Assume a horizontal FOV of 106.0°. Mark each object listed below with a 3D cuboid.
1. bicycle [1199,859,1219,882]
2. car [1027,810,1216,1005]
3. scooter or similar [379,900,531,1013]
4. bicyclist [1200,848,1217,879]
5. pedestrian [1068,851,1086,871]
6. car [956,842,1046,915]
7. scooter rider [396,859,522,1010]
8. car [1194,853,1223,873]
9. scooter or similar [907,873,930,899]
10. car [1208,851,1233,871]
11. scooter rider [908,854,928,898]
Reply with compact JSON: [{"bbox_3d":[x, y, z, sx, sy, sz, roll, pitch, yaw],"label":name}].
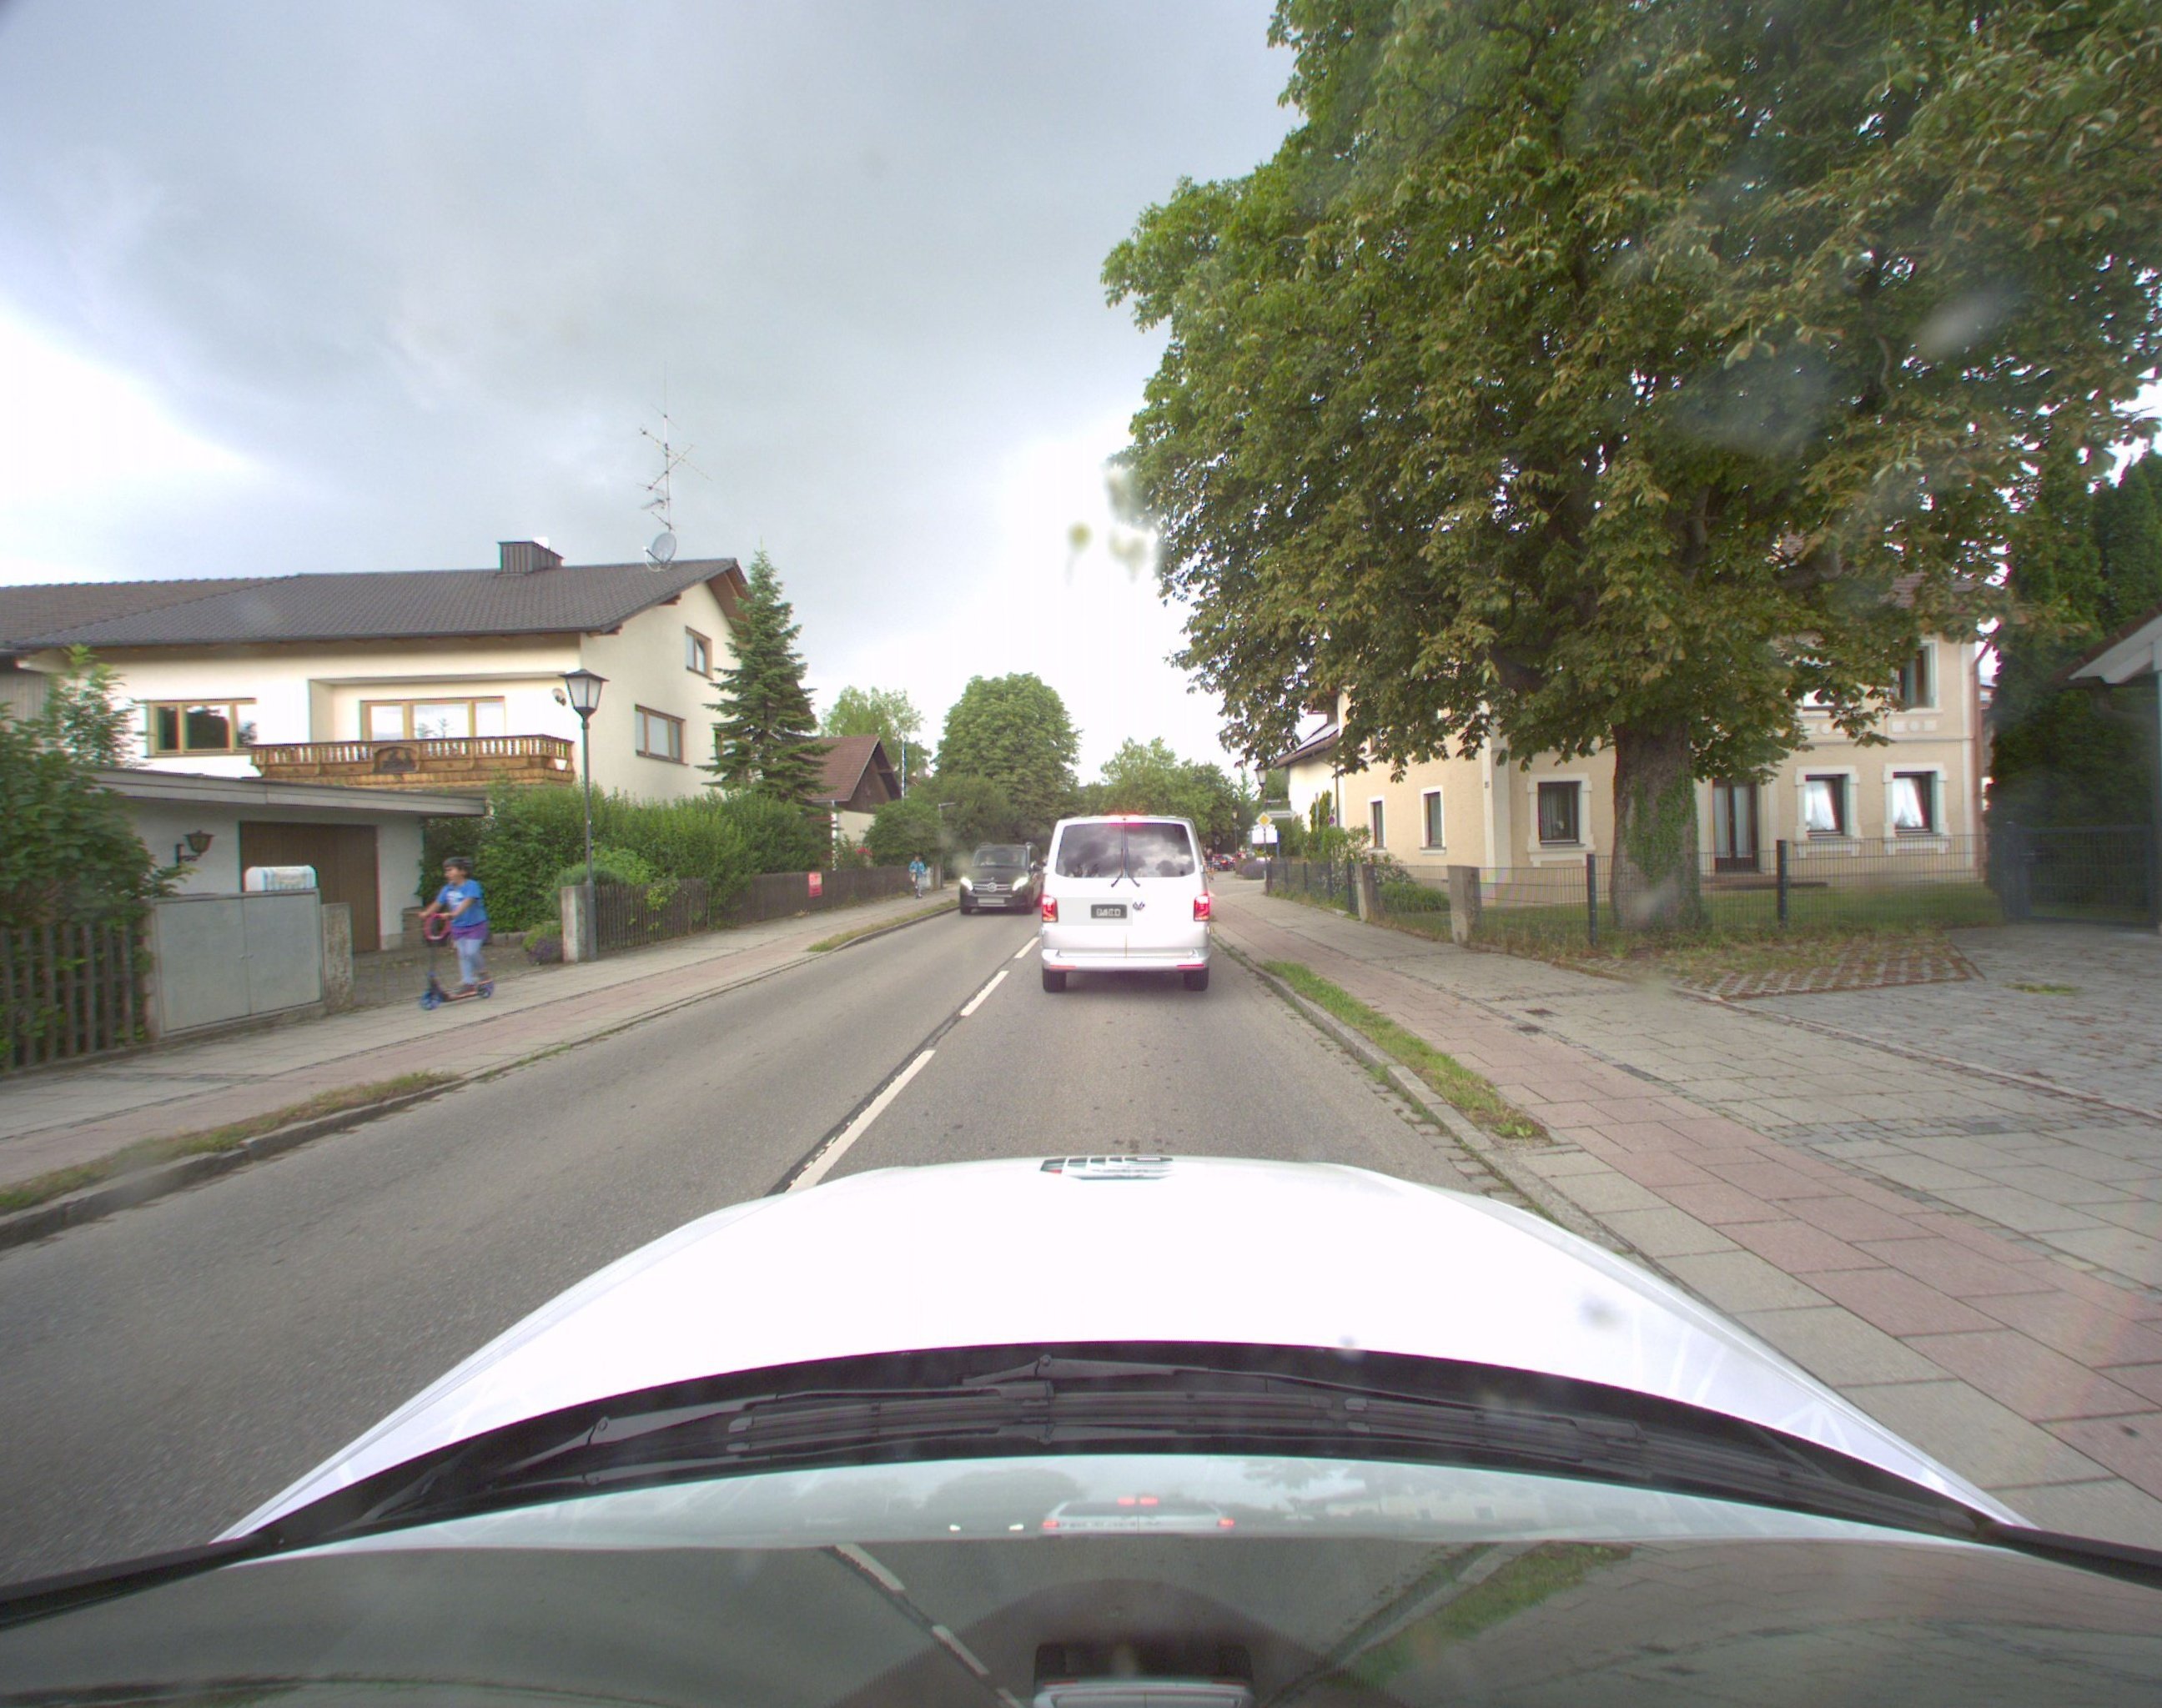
[{"bbox_3d":[6.750,0.863,42.965,0.762,1.143,1.845,-1,0,1],"label":"bicycle"},{"bbox_3d":[0.510,0.546,10.251,1.873,1.940,3.923,-1,0,3],"label":"car"},{"bbox_3d":[-6.627,1.056,8.691,0.658,1.037,1.179,-2,0,3],"label":"scooter or similar"},{"bbox_3d":[6.743,0.496,42.980,0.734,1.632,0.890,-1,0,0],"label":"bicyclist"},{"bbox_3d":[-0.387,0.630,72.787,1.323,1.803,1.062,-1,0,-20],"label":"pedestrian"},{"bbox_3d":[-2.144,0.624,23.181,1.957,1.853,4.949,0,0,1],"label":"car"},{"bbox_3d":[-6.630,0.824,8.726,0.690,1.524,0.801,1,0,3],"label":"scooter rider"},{"bbox_3d":[10.455,0.725,66.640,1.867,1.535,3.937,-1,0,16],"label":"car"},{"bbox_3d":[-5.574,1.081,27.921,0.519,0.850,1.062,-1,0,3],"label":"scooter or similar"},{"bbox_3d":[12.613,0.625,73.612,1.867,1.748,4.096,-2,0,15],"label":"car"},{"bbox_3d":[-5.581,0.744,27.923,0.500,1.489,0.716,-1,0,2],"label":"scooter rider"}]
